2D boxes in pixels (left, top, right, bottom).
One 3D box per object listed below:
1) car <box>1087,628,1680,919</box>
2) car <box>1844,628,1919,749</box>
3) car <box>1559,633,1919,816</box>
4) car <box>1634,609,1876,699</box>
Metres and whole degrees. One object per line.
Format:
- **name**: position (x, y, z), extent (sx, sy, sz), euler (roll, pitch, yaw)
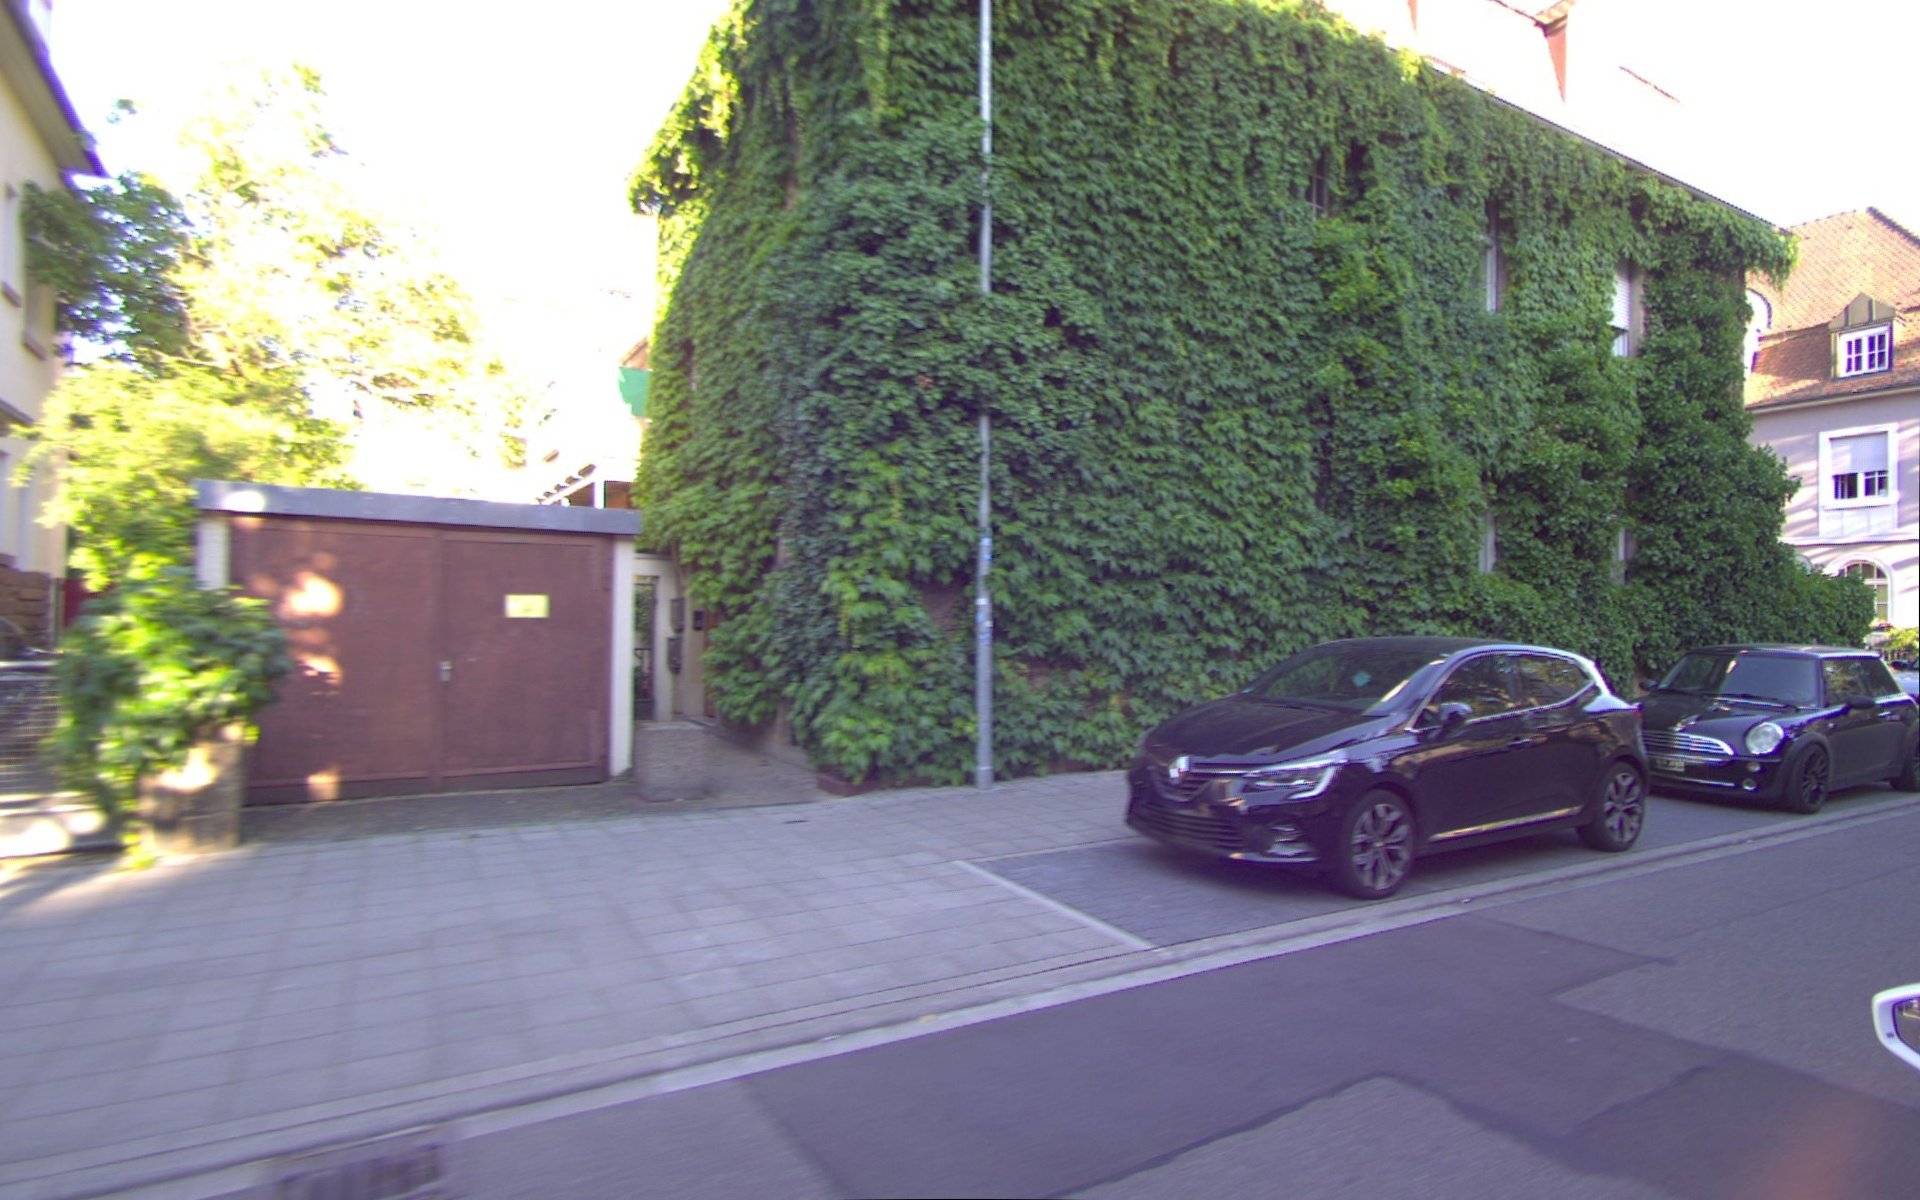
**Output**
- **car**: position (2.993, 0.948, 6.888), extent (4.050, 1.440, 1.642), euler (1, 0, -30)
- **car**: position (13.665, 1.145, 13.333), extent (3.869, 1.480, 1.697), euler (1, 0, -29)
- **car**: position (7.650, 1.044, 9.647), extent (3.677, 1.398, 1.678), euler (1, 0, -30)
- **car**: position (19.806, 1.319, 25.218), extent (1.978, 2.040, 4.377), euler (4, -3, -32)
